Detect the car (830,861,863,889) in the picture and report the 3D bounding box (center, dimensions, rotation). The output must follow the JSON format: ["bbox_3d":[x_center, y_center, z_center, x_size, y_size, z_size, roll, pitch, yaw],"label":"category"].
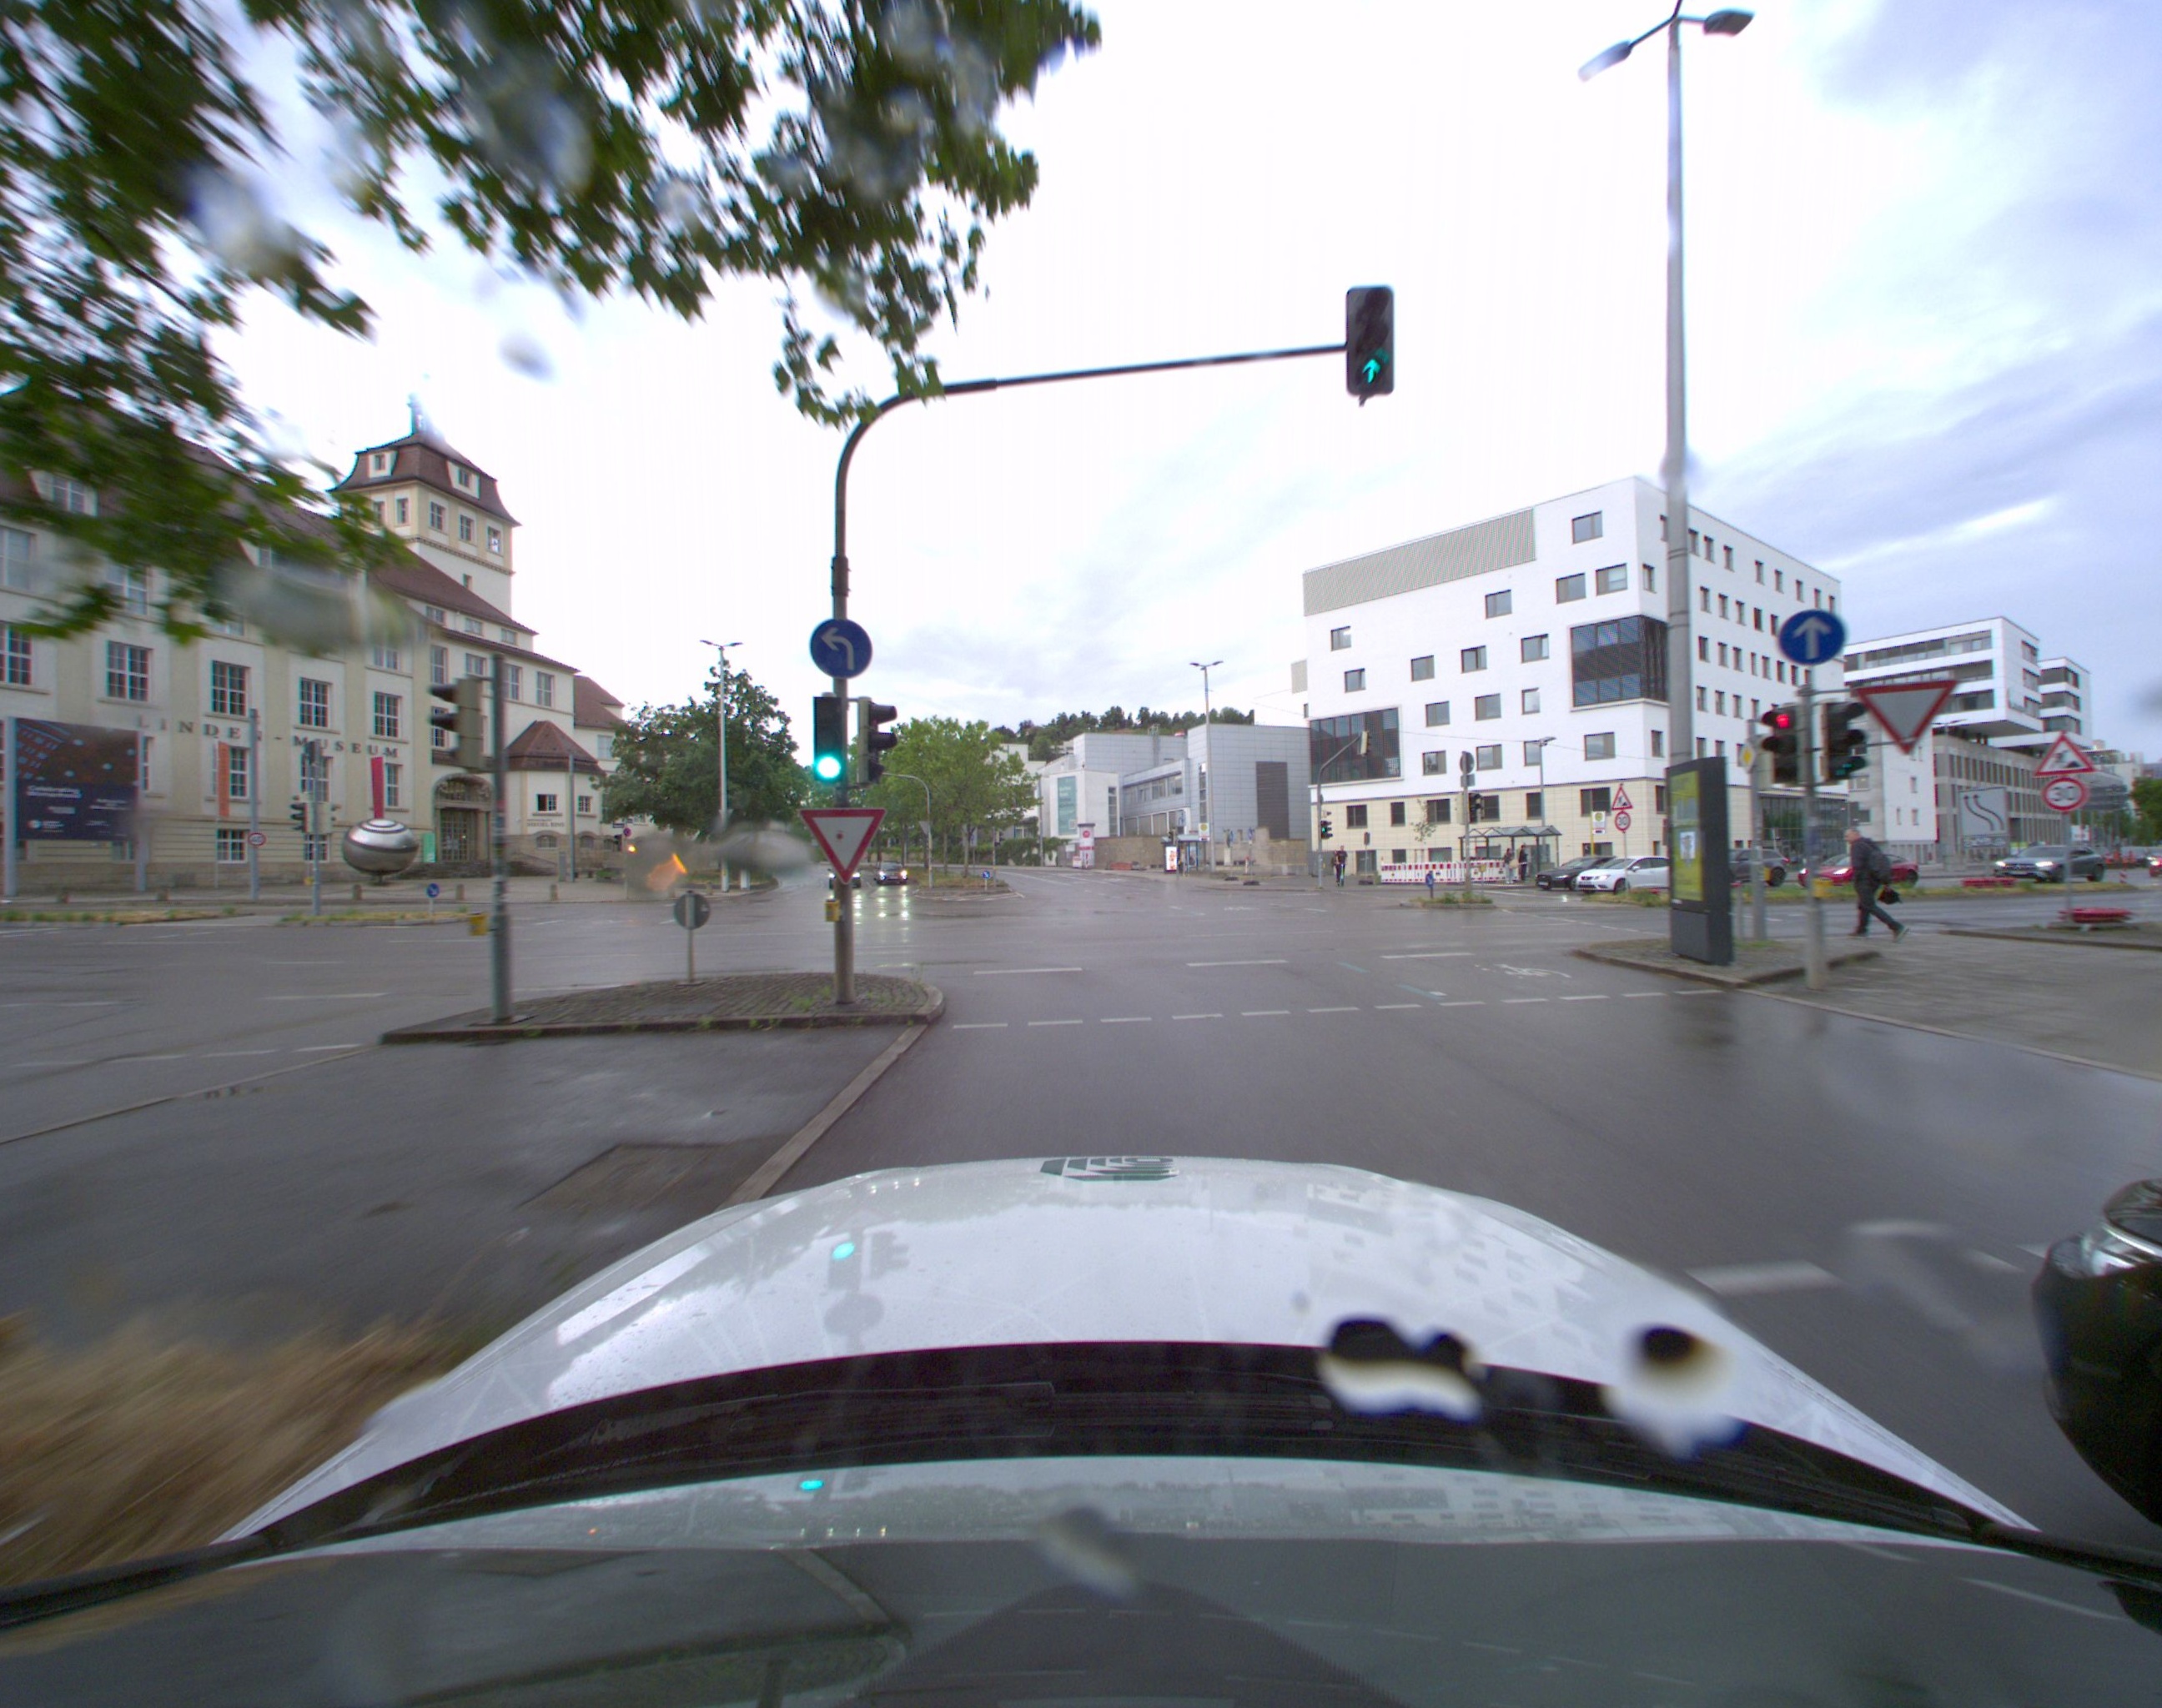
[{"bbox_3d":[-14.503,1.262,50.529,1.871,1.564,4.254,-2,1,-15],"label":"car"}]

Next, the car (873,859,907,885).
[{"bbox_3d":[-12.801,1.168,54.434,1.795,1.585,3.973,-1,0,-20],"label":"car"}]

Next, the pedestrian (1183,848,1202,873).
[{"bbox_3d":[7.918,0.455,57.750,1.253,1.719,1.016,0,-2,0],"label":"pedestrian"}]

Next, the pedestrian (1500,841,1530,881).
[{"bbox_3d":[20.291,0.348,38.089,0.951,1.840,0.821,1,-2,-9],"label":"pedestrian"}]

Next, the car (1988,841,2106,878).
[{"bbox_3d":[42.408,0.267,35.759,4.156,1.537,1.955,1,-1,-18],"label":"car"}]

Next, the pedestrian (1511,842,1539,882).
[{"bbox_3d":[21.961,0.415,40.311,0.995,1.935,0.957,0,-2,11],"label":"pedestrian"}]

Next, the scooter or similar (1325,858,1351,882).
[{"bbox_3d":[13.247,0.840,41.967,0.593,1.239,1.305,1,-2,-19],"label":"scooter or similar"}]

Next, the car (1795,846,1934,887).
[{"bbox_3d":[31.697,0.511,32.982,4.520,1.557,1.957,1,-1,-14],"label":"car"}]

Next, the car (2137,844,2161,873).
[{"bbox_3d":[54.929,0.246,40.330,4.156,1.450,1.955,1,-1,-18],"label":"car"}]

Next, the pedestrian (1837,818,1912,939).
[{"bbox_3d":[12.989,0.399,13.369,0.819,1.892,1.033,-1,-3,43],"label":"pedestrian"}]

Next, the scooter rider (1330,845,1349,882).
[{"bbox_3d":[13.304,0.496,41.917,0.725,1.883,0.628,1,-2,-18],"label":"scooter rider"}]

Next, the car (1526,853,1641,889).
[{"bbox_3d":[20.806,0.695,33.778,3.991,1.444,1.790,1,-1,-13],"label":"car"}]

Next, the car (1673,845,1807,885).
[{"bbox_3d":[28.530,0.459,35.338,4.365,1.664,1.997,0,0,-5],"label":"car"}]

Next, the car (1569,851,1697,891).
[{"bbox_3d":[20.804,0.626,30.718,3.991,1.444,1.790,1,-1,-13],"label":"car"}]
